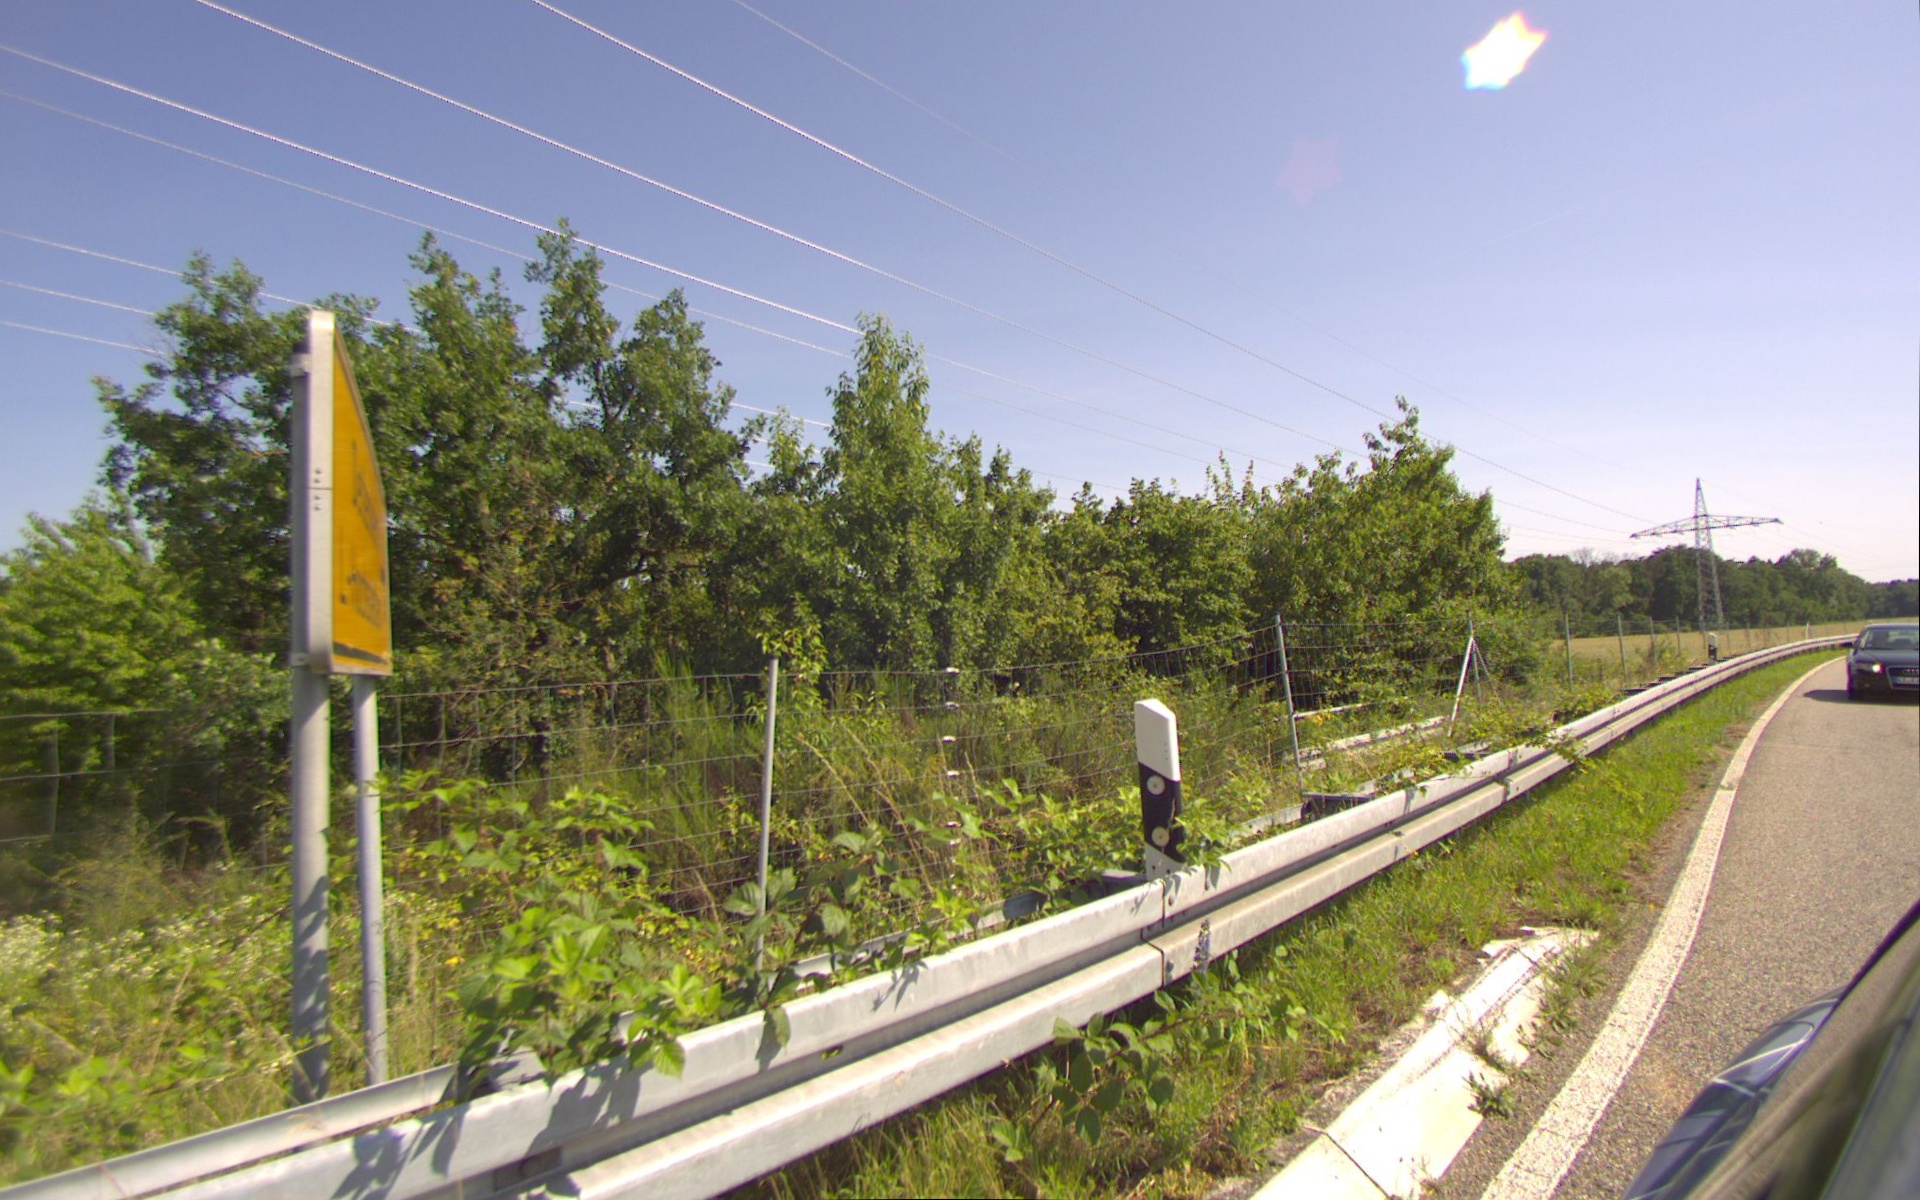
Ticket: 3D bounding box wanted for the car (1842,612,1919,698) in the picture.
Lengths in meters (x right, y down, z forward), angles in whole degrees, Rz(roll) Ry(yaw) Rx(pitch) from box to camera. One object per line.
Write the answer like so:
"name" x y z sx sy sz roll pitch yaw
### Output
"car" 17.908 0.979 19.056 1.879 1.475 4.015 -1 -2 40
